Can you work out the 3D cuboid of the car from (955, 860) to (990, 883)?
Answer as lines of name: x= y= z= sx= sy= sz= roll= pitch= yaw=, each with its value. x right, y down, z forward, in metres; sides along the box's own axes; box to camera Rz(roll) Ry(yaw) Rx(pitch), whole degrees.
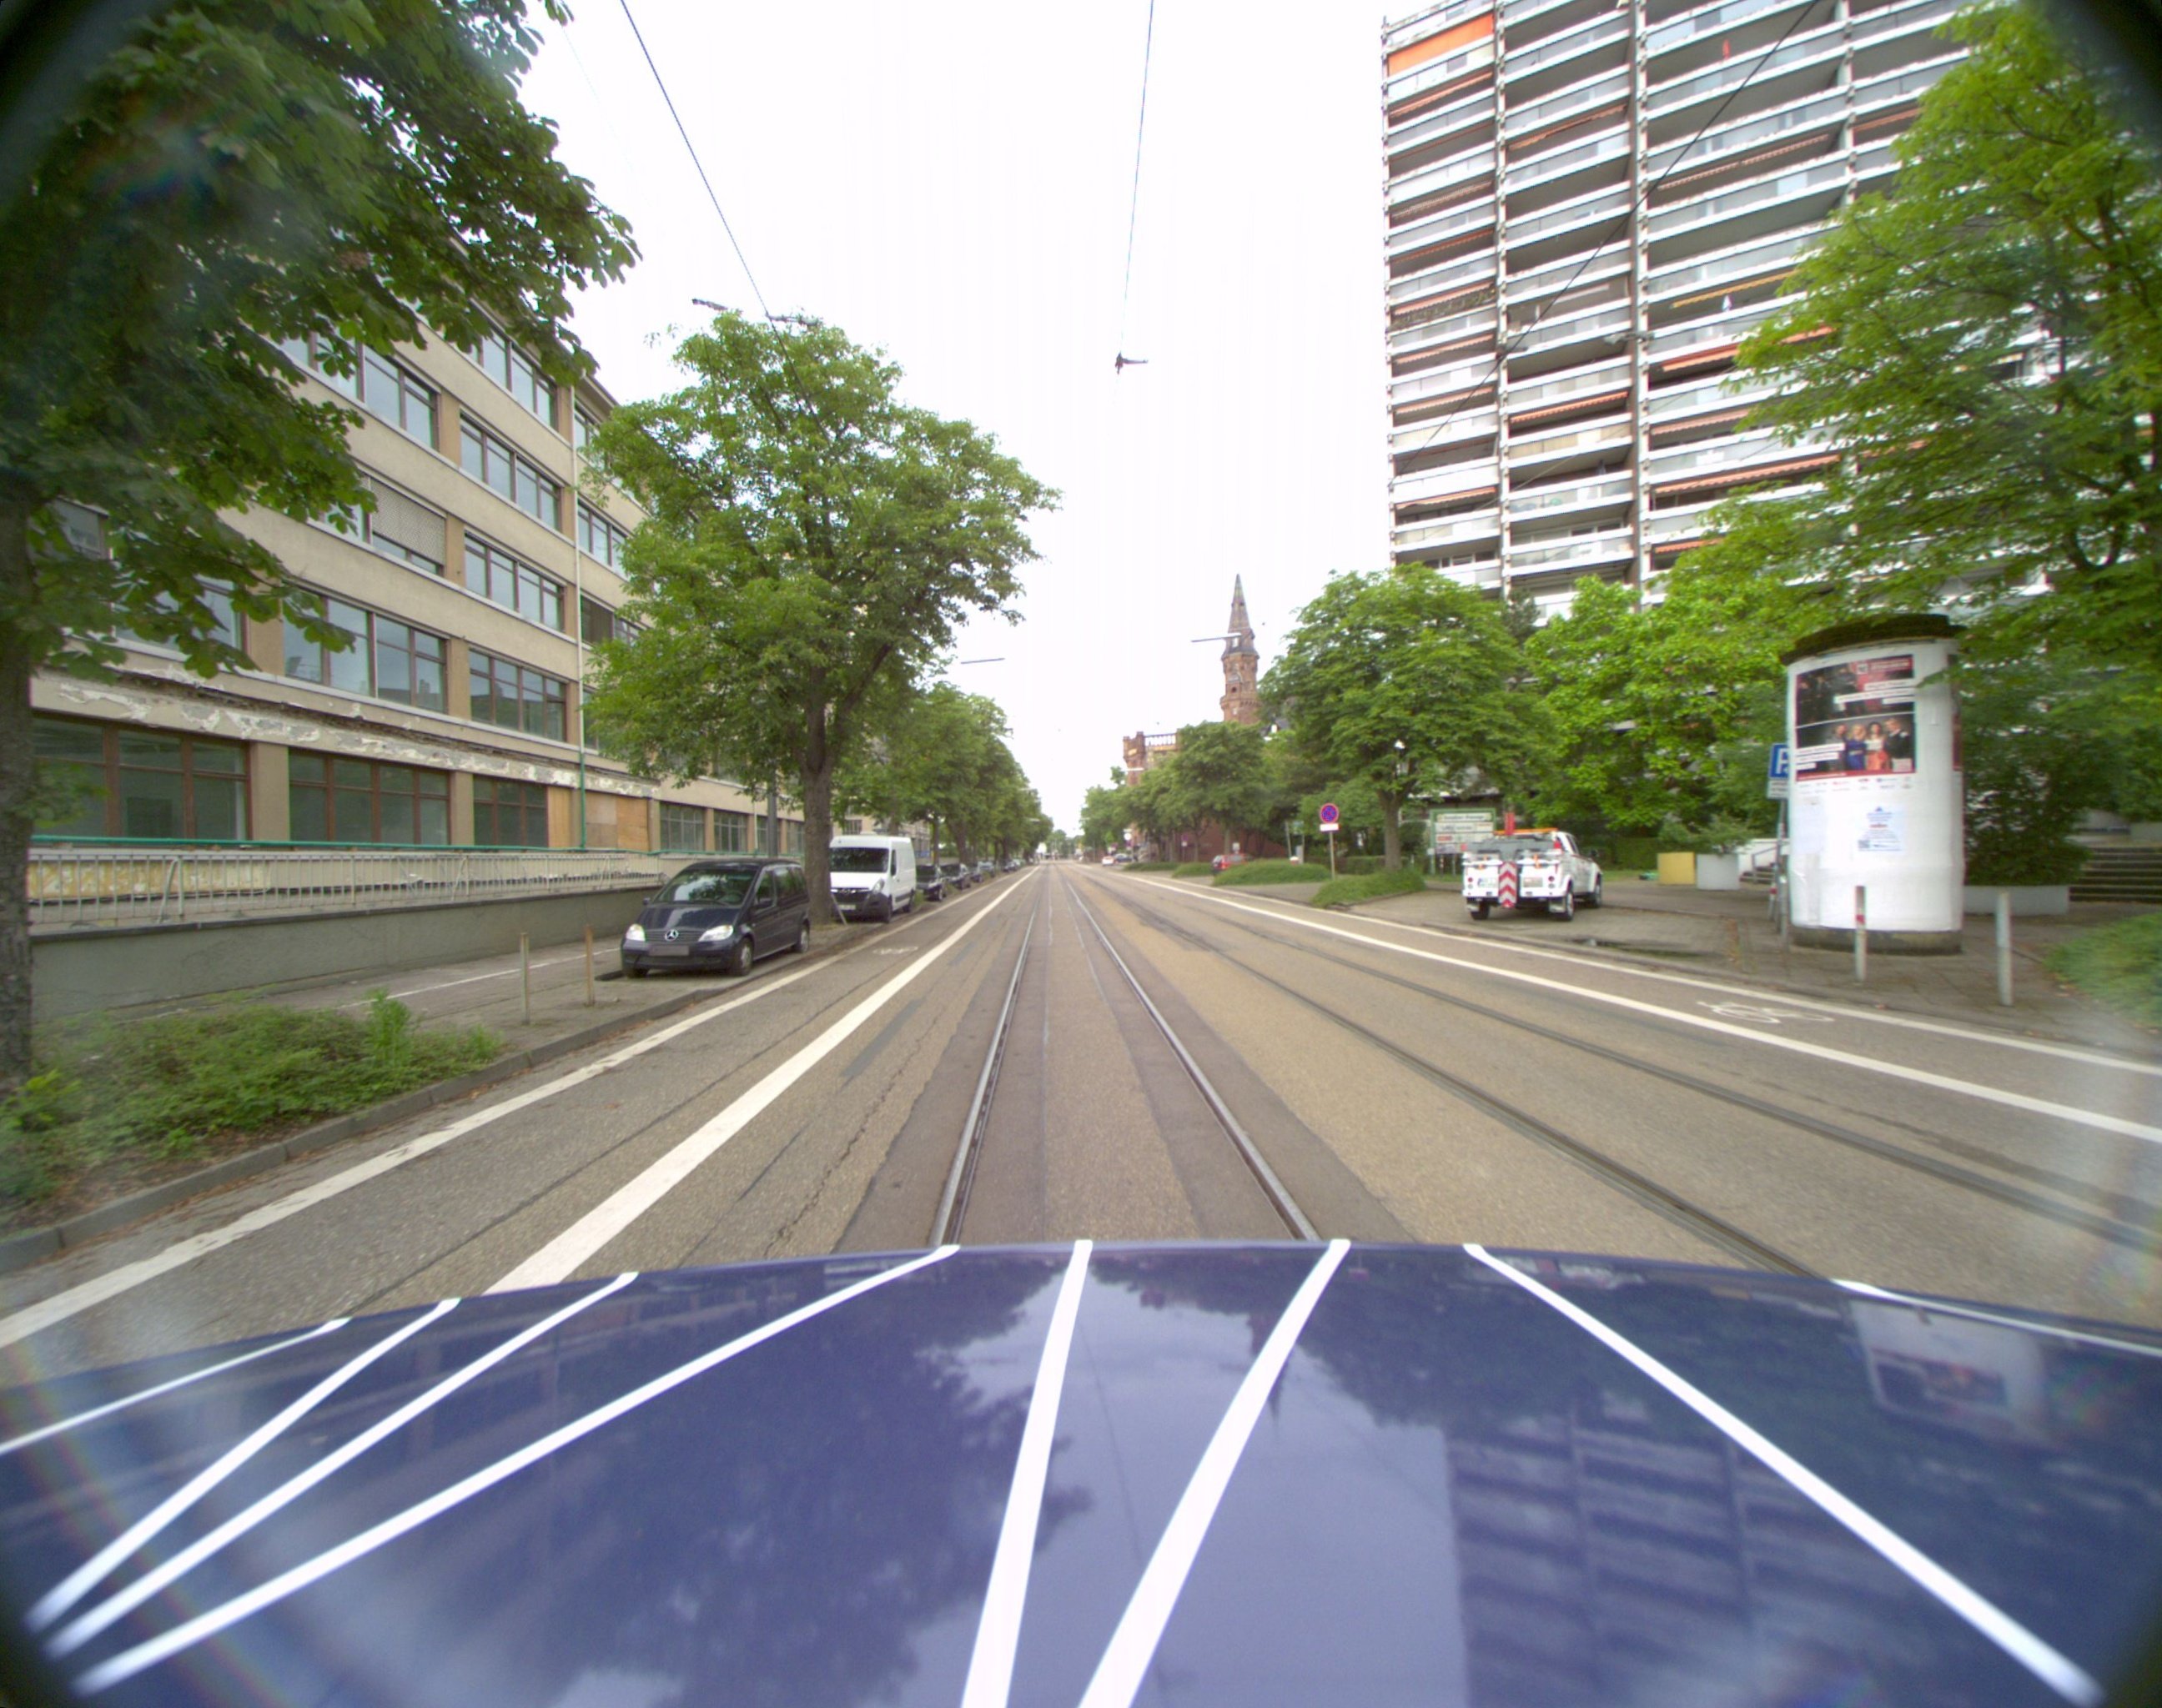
car: x=-7.532 y=1.178 z=53.168 sx=1.999 sy=1.452 sz=4.392 roll=-2 pitch=0 yaw=-2

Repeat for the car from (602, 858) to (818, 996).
car: x=-5.850 y=1.023 z=12.597 sx=1.658 sy=1.802 sz=4.083 roll=-2 pitch=1 yaw=-2

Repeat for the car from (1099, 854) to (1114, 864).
car: x=4.002 y=0.730 z=118.025 sx=1.999 sy=1.521 sz=3.999 roll=-1 pitch=0 yaw=-2

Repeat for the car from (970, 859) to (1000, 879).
car: x=-7.825 y=1.209 z=62.424 sx=1.999 sy=1.452 sz=4.392 roll=-2 pitch=0 yaw=-2

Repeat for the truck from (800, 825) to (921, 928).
truck: x=-6.268 y=0.583 z=22.414 sx=2.118 sy=2.587 sz=5.490 roll=-2 pitch=0 yaw=-3

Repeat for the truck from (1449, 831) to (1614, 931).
truck: x=10.015 y=0.479 z=16.674 sx=1.994 sy=1.838 sz=5.074 roll=-2 pitch=0 yaw=44

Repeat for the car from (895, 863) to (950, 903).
car: x=-6.561 y=1.149 z=31.876 sx=1.826 sy=1.491 sz=4.103 roll=0 pitch=1 yaw=-6

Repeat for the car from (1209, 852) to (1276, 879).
car: x=9.478 y=0.662 z=44.693 sx=3.505 sy=1.369 sz=1.632 roll=-2 pitch=1 yaw=-16

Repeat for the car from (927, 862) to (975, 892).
car: x=-7.004 y=1.201 z=41.299 sx=1.999 sy=1.452 sz=4.392 roll=-2 pitch=0 yaw=-2

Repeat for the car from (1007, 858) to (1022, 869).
car: x=-9.715 y=1.331 z=110.838 sx=1.999 sy=1.452 sz=4.392 roll=-2 pitch=0 yaw=-2

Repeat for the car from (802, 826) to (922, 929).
car: x=-6.235 y=0.616 z=22.423 sx=2.118 sy=2.587 sz=5.490 roll=-2 pitch=0 yaw=-3

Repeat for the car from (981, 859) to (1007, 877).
car: x=-8.030 y=1.274 z=70.470 sx=1.999 sy=1.452 sz=4.392 roll=-2 pitch=0 yaw=-2

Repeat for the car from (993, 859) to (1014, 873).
car: x=-8.667 y=1.362 z=85.302 sx=1.999 sy=1.452 sz=4.392 roll=-2 pitch=0 yaw=-2

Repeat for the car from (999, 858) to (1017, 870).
car: x=-9.273 y=1.239 z=96.971 sx=1.999 sy=1.452 sz=4.392 roll=-2 pitch=0 yaw=-2
